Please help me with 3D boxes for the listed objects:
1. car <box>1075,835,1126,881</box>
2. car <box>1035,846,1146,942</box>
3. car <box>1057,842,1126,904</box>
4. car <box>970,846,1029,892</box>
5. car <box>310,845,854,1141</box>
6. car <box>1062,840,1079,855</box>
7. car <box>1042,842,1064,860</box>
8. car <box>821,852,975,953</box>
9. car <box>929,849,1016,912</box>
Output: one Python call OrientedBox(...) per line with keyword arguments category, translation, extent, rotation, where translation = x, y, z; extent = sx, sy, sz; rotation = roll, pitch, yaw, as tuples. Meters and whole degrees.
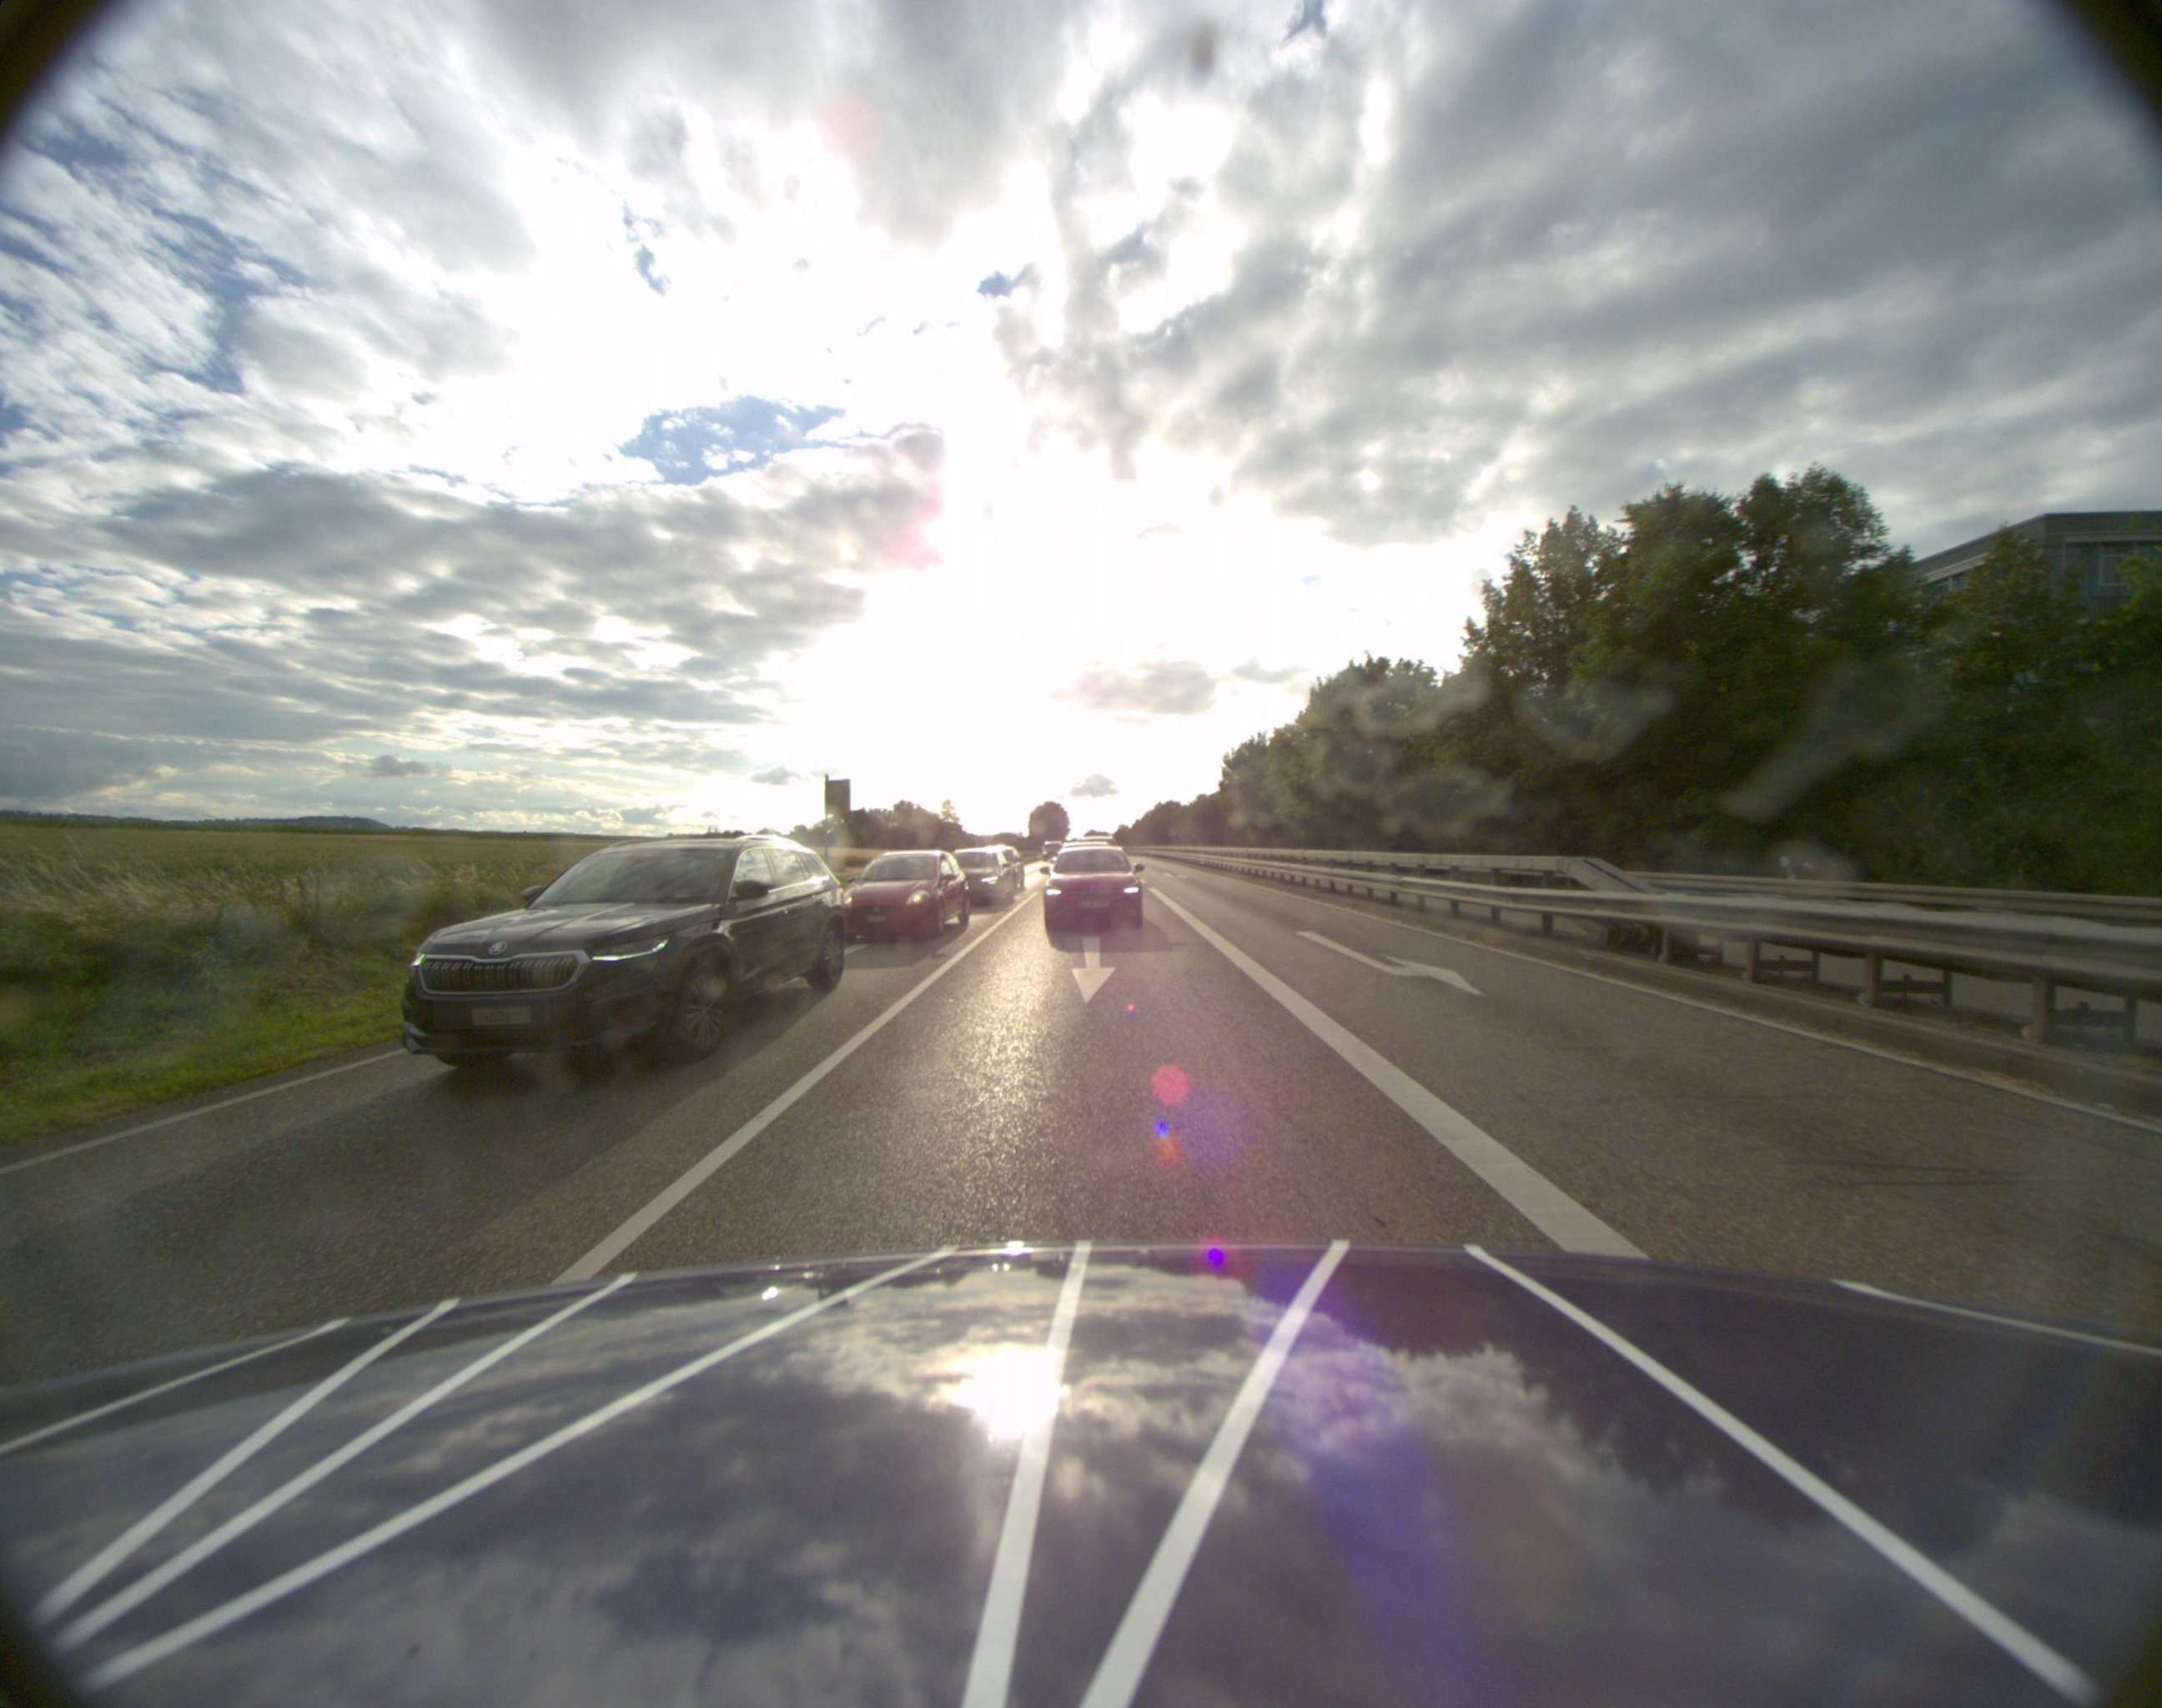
OrientedBox(category="car", translation=(0.761, 0.116, 28.747), extent=(1.786, 1.624, 3.865), rotation=(0, 1, 2))
OrientedBox(category="car", translation=(0.217, 0.628, 14.029), extent=(1.723, 1.467, 3.728), rotation=(-2, 1, 2))
OrientedBox(category="car", translation=(0.292, 0.455, 21.441), extent=(1.758, 1.543, 3.999), rotation=(0, 1, 0))
OrientedBox(category="car", translation=(-2.863, 0.490, 27.393), extent=(1.631, 1.467, 3.474), rotation=(-2, 1, 1))
OrientedBox(category="car", translation=(-3.563, 0.790, 6.641), extent=(1.723, 1.658, 4.418), rotation=(-2, 1, 1))
OrientedBox(category="car", translation=(-1.309, -0.858, 97.667), extent=(1.998, 1.740, 3.999), rotation=(3, 1, 1))
OrientedBox(category="car", translation=(-2.753, -0.338, 74.896), extent=(1.949, 1.652, 3.999), rotation=(-1, 1, 0))
OrientedBox(category="car", translation=(-3.107, 0.749, 13.715), extent=(1.668, 1.467, 3.865), rotation=(-2, 1, 2))
OrientedBox(category="car", translation=(-2.853, 0.653, 20.799), extent=(1.723, 1.467, 3.865), rotation=(-2, 1, 1))
